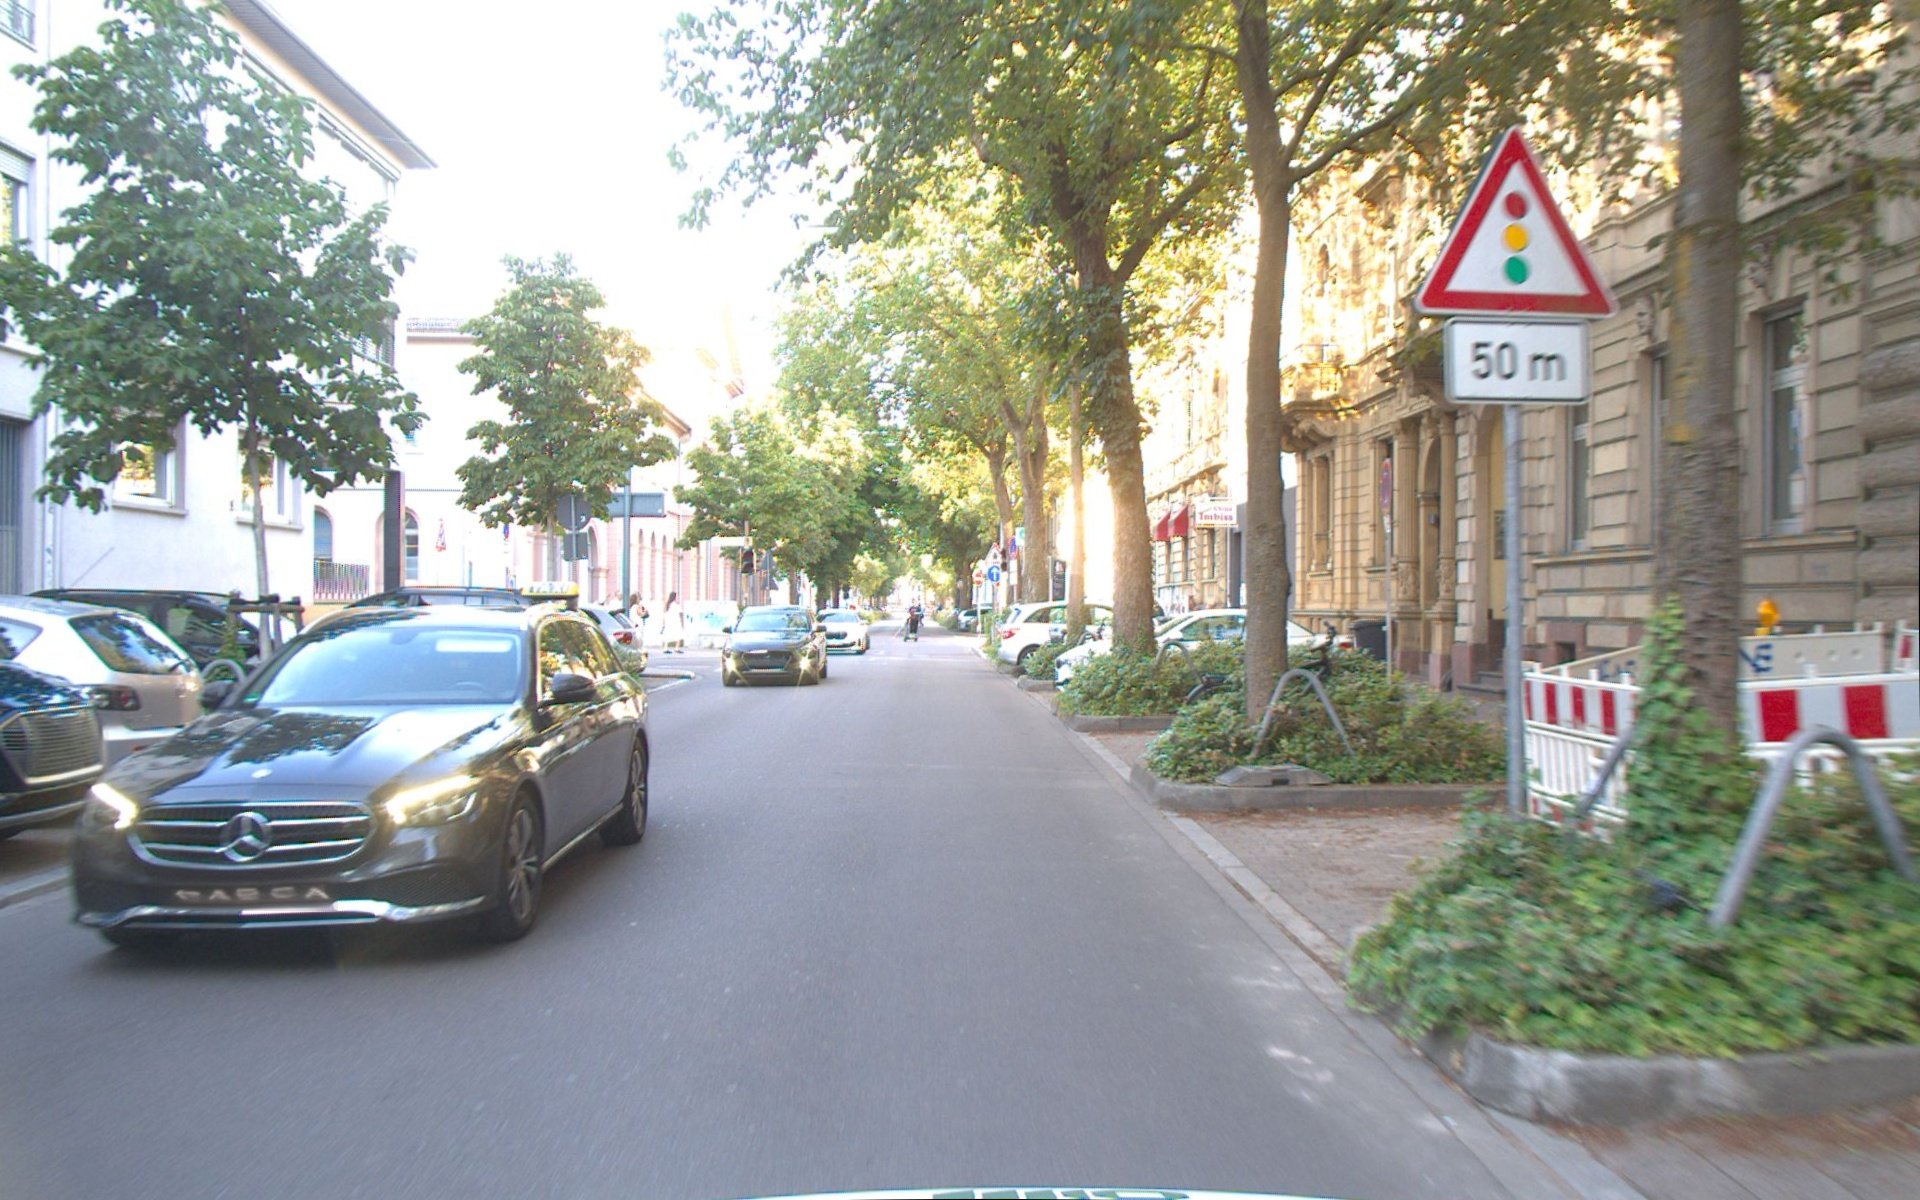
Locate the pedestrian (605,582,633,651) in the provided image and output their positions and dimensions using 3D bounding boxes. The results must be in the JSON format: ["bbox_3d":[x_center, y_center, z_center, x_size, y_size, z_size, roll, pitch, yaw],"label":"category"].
[{"bbox_3d":[-9.412,0.454,45.677,0.542,1.883,0.612,0,0,13],"label":"pedestrian"}]

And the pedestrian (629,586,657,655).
[{"bbox_3d":[-8.737,0.552,45.610,0.542,1.882,0.612,0,1,13],"label":"pedestrian"}]

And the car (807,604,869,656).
[{"bbox_3d":[-3.920,0.941,53.590,1.839,1.576,4.273,-1,0,-2],"label":"car"}]

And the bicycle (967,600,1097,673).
[{"bbox_3d":[1.731,0.882,39.989,3.053,1.692,0.657,1,-1,-6],"label":"bicycle"}]

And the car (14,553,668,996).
[{"bbox_3d":[-2.781,0.673,8.679,1.839,1.669,4.644,-1,0,-2],"label":"car"}]

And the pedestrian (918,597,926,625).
[{"bbox_3d":[-2.773,0.834,121.244,0.492,2.049,0.620,1,-1,0],"label":"pedestrian"}]

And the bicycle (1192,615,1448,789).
[{"bbox_3d":[3.000,0.843,13.839,2.005,1.384,0.508,2,0,-4],"label":"bicycle"}]

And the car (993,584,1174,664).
[{"bbox_3d":[3.154,0.606,42.843,4.450,1.948,1.949,-1,0,-4],"label":"car"}]

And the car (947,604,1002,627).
[{"bbox_3d":[1.056,1.112,122.474,3.934,1.651,1.779,0,0,-3],"label":"car"}]

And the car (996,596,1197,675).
[{"bbox_3d":[2.856,0.732,35.221,4.137,1.587,1.971,-1,0,2],"label":"car"}]

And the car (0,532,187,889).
[{"bbox_3d":[-7.128,0.510,9.211,4.571,1.796,2.156,1,0,-2],"label":"car"}]

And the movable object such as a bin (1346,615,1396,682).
[{"bbox_3d":[6.839,0.804,27.531,0.644,1.083,0.614,-1,-1,-2],"label":"movable object such as a bin"}]

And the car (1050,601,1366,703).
[{"bbox_3d":[3.651,0.755,24.963,4.489,1.462,1.925,0,0,0],"label":"car"}]

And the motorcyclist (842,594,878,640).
[{"bbox_3d":[-3.610,0.614,60.019,1.254,1.620,1.077,0,0,-1],"label":"motorcyclist"}]

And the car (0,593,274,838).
[{"bbox_3d":[-7.192,0.709,11.617,3.945,1.520,1.781,2,0,2],"label":"car"}]

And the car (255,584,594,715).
[{"bbox_3d":[-7.275,0.654,22.786,4.009,1.660,1.936,1,0,-1],"label":"car"}]

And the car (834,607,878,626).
[{"bbox_3d":[-12.043,1.866,191.231,4.961,2.119,2.263,0,0,-1],"label":"car"}]

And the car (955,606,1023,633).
[{"bbox_3d":[1.753,1.172,101.390,4.108,1.506,1.851,-1,0,-2],"label":"car"}]

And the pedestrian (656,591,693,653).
[{"bbox_3d":[-8.269,0.631,47.951,0.832,1.769,0.770,2,-1,-27],"label":"pedestrian"}]

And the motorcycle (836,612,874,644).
[{"bbox_3d":[-3.799,1.014,60.150,1.285,1.109,2.396,0,0,-1],"label":"motorcycle"}]

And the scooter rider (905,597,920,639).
[{"bbox_3d":[-2.059,0.795,71.719,0.484,1.823,0.875,0,-1,8],"label":"scooter rider"}]

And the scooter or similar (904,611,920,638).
[{"bbox_3d":[-2.065,1.054,71.674,0.491,1.165,1.251,0,-1,9],"label":"scooter or similar"}]

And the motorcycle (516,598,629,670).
[{"bbox_3d":[-8.051,0.707,34.355,2.103,1.444,0.968,-1,-1,20],"label":"motorcycle"}]

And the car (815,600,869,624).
[{"bbox_3d":[-11.026,1.111,154.939,4.962,2.119,2.262,0,0,-2],"label":"car"}]

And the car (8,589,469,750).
[{"bbox_3d":[-7.434,0.691,17.329,3.992,1.465,1.755,2,0,0],"label":"car"}]

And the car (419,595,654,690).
[{"bbox_3d":[-7.393,0.733,29.131,3.666,1.484,1.734,2,0,-3],"label":"car"}]

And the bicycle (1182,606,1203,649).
[{"bbox_3d":[6.699,0.783,47.775,0.377,1.232,1.725,0,0,1],"label":"bicycle"}]

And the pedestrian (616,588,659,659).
[{"bbox_3d":[-8.590,0.625,44.073,0.764,1.822,0.781,2,0,-43],"label":"pedestrian"}]

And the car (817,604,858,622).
[{"bbox_3d":[-11.056,1.165,149.543,3.653,1.534,1.871,0,0,-5],"label":"car"}]

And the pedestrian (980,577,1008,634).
[{"bbox_3d":[1.315,0.231,64.818,1.022,2.184,1.063,1,-1,-1],"label":"pedestrian"}]

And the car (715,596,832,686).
[{"bbox_3d":[-3.491,0.739,31.627,1.839,1.576,4.273,-1,0,-2],"label":"car"}]

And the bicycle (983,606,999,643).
[{"bbox_3d":[1.211,0.936,63.625,0.407,1.396,1.289,-1,0,10],"label":"bicycle"}]

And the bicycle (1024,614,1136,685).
[{"bbox_3d":[2.212,0.906,30.459,1.985,1.225,0.487,-2,0,-14],"label":"bicycle"}]
